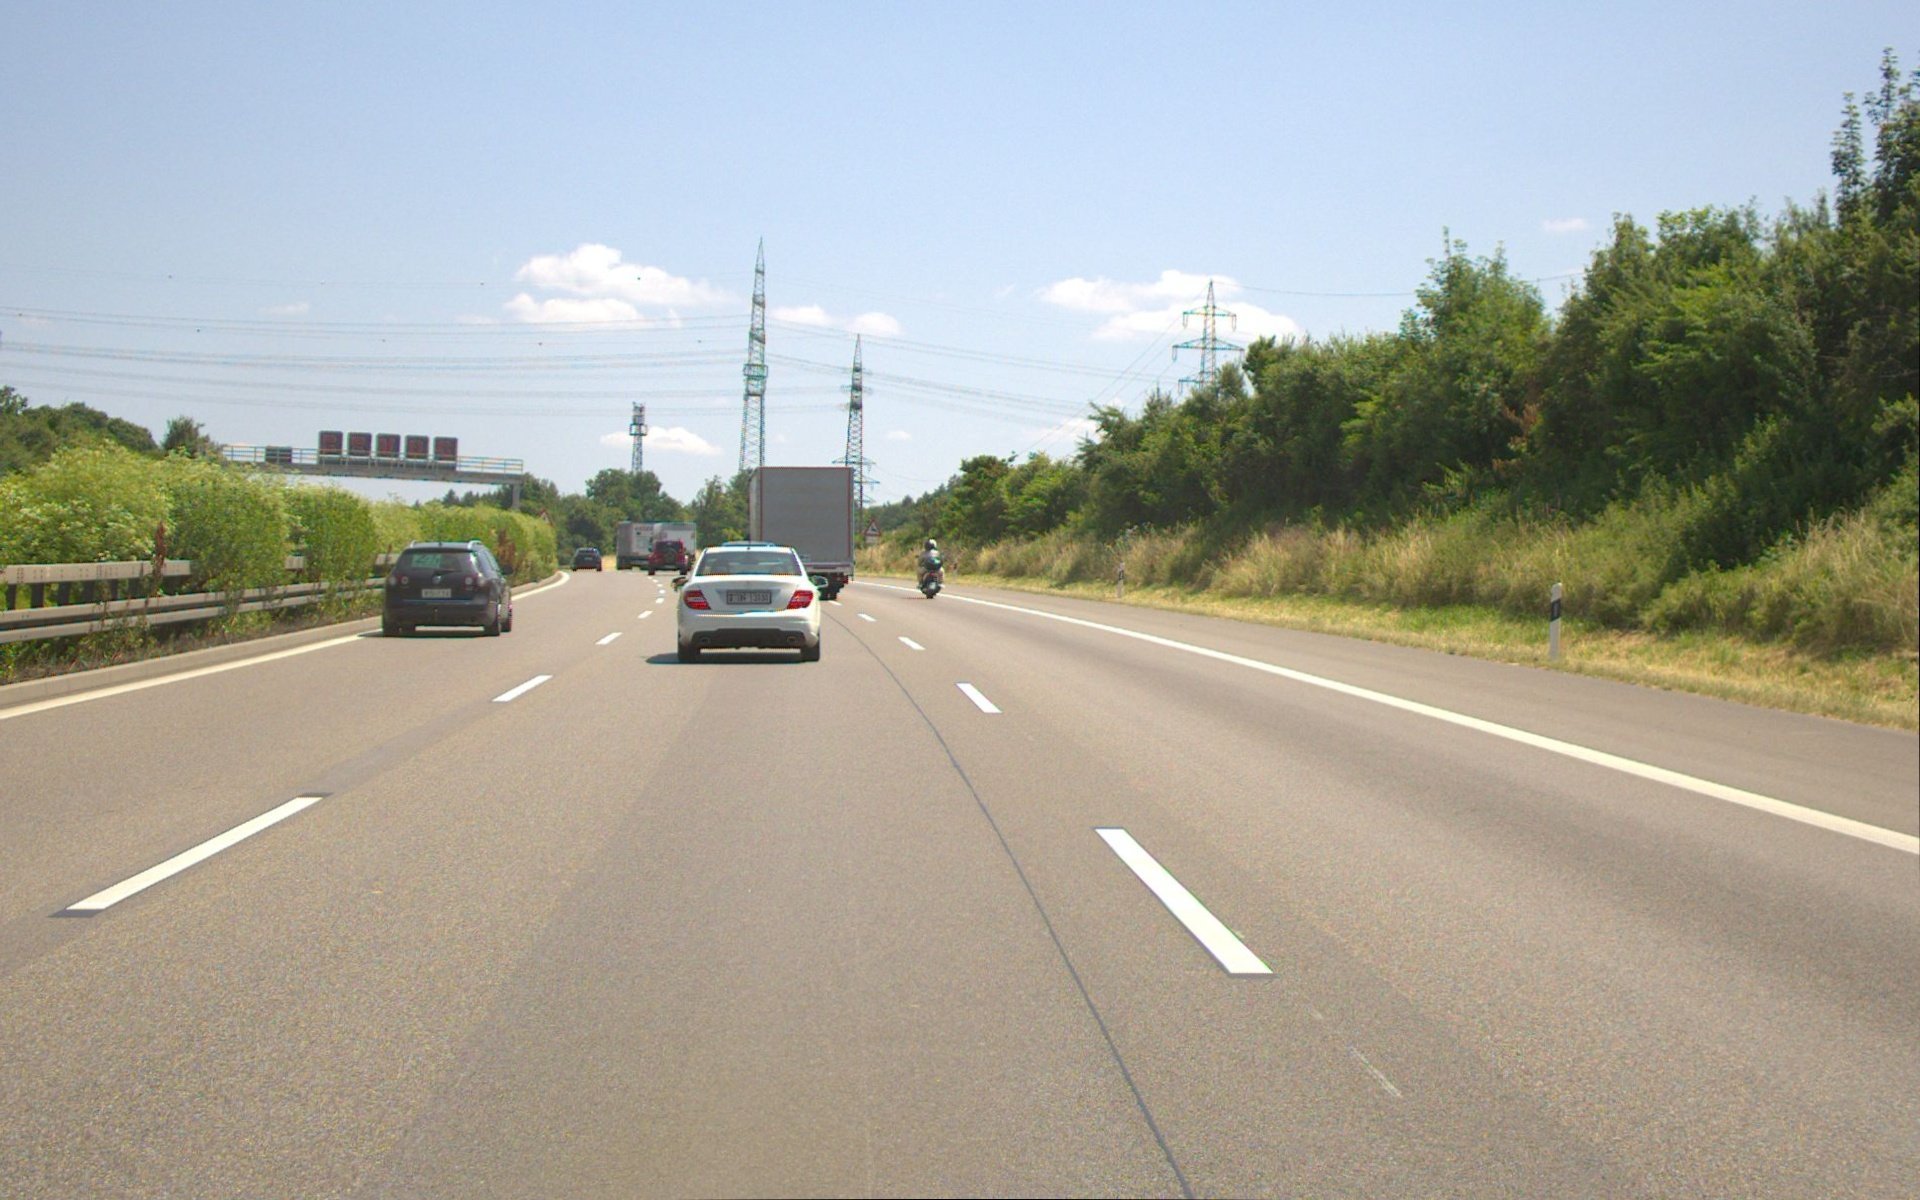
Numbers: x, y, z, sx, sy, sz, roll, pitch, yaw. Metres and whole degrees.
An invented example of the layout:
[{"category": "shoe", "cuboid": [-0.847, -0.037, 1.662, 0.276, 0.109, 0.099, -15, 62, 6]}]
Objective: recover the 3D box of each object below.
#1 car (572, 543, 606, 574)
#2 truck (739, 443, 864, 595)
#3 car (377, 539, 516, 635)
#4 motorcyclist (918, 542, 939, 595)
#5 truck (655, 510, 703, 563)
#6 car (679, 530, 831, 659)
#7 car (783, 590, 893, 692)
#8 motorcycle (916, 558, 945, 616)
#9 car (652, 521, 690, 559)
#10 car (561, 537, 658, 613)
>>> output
[{"category": "car", "cuboid": [-23.184, -2.604, 214.880, 1.993, 1.853, 4.001, 0, 1, -8]}, {"category": "truck", "cuboid": [-4.345, -2.168, 94.115, 3.221, 3.911, 9.062, 1, 1, -3]}, {"category": "car", "cuboid": [-8.018, -0.237, 53.928, 1.756, 1.424, 4.001, 0, 1, -3]}, {"category": "motorcyclist", "cuboid": [-0.876, -0.879, 95.987, 0.572, 1.474, 0.700, 0, 1, 0]}, {"category": "truck", "cuboid": [-21.350, -4.777, 260.708, 3.483, 3.899, 7.291, 1, 1, -6]}, {"category": "car", "cuboid": [-2.571, -0.101, 43.209, 1.819, 1.535, 3.915, 0, 1, -3]}, {"category": "car", "cuboid": [-2.624, 0.839, 73.074, 1.993, 2.007, 4.001, 0, 1, -7]}, {"category": "motorcycle", "cuboid": [-0.826, -0.359, 95.998, 0.809, 1.602, 1.782, 1, 1, -1]}, {"category": "car", "cuboid": [-14.854, -3.078, 176.695, 1.901, 1.919, 4.001, 0, 1, -5]}, {"category": "car", "cuboid": [-7.393, -0.551, 72.771, 1.838, 1.535, 3.915, 0, 1, -3]}]
